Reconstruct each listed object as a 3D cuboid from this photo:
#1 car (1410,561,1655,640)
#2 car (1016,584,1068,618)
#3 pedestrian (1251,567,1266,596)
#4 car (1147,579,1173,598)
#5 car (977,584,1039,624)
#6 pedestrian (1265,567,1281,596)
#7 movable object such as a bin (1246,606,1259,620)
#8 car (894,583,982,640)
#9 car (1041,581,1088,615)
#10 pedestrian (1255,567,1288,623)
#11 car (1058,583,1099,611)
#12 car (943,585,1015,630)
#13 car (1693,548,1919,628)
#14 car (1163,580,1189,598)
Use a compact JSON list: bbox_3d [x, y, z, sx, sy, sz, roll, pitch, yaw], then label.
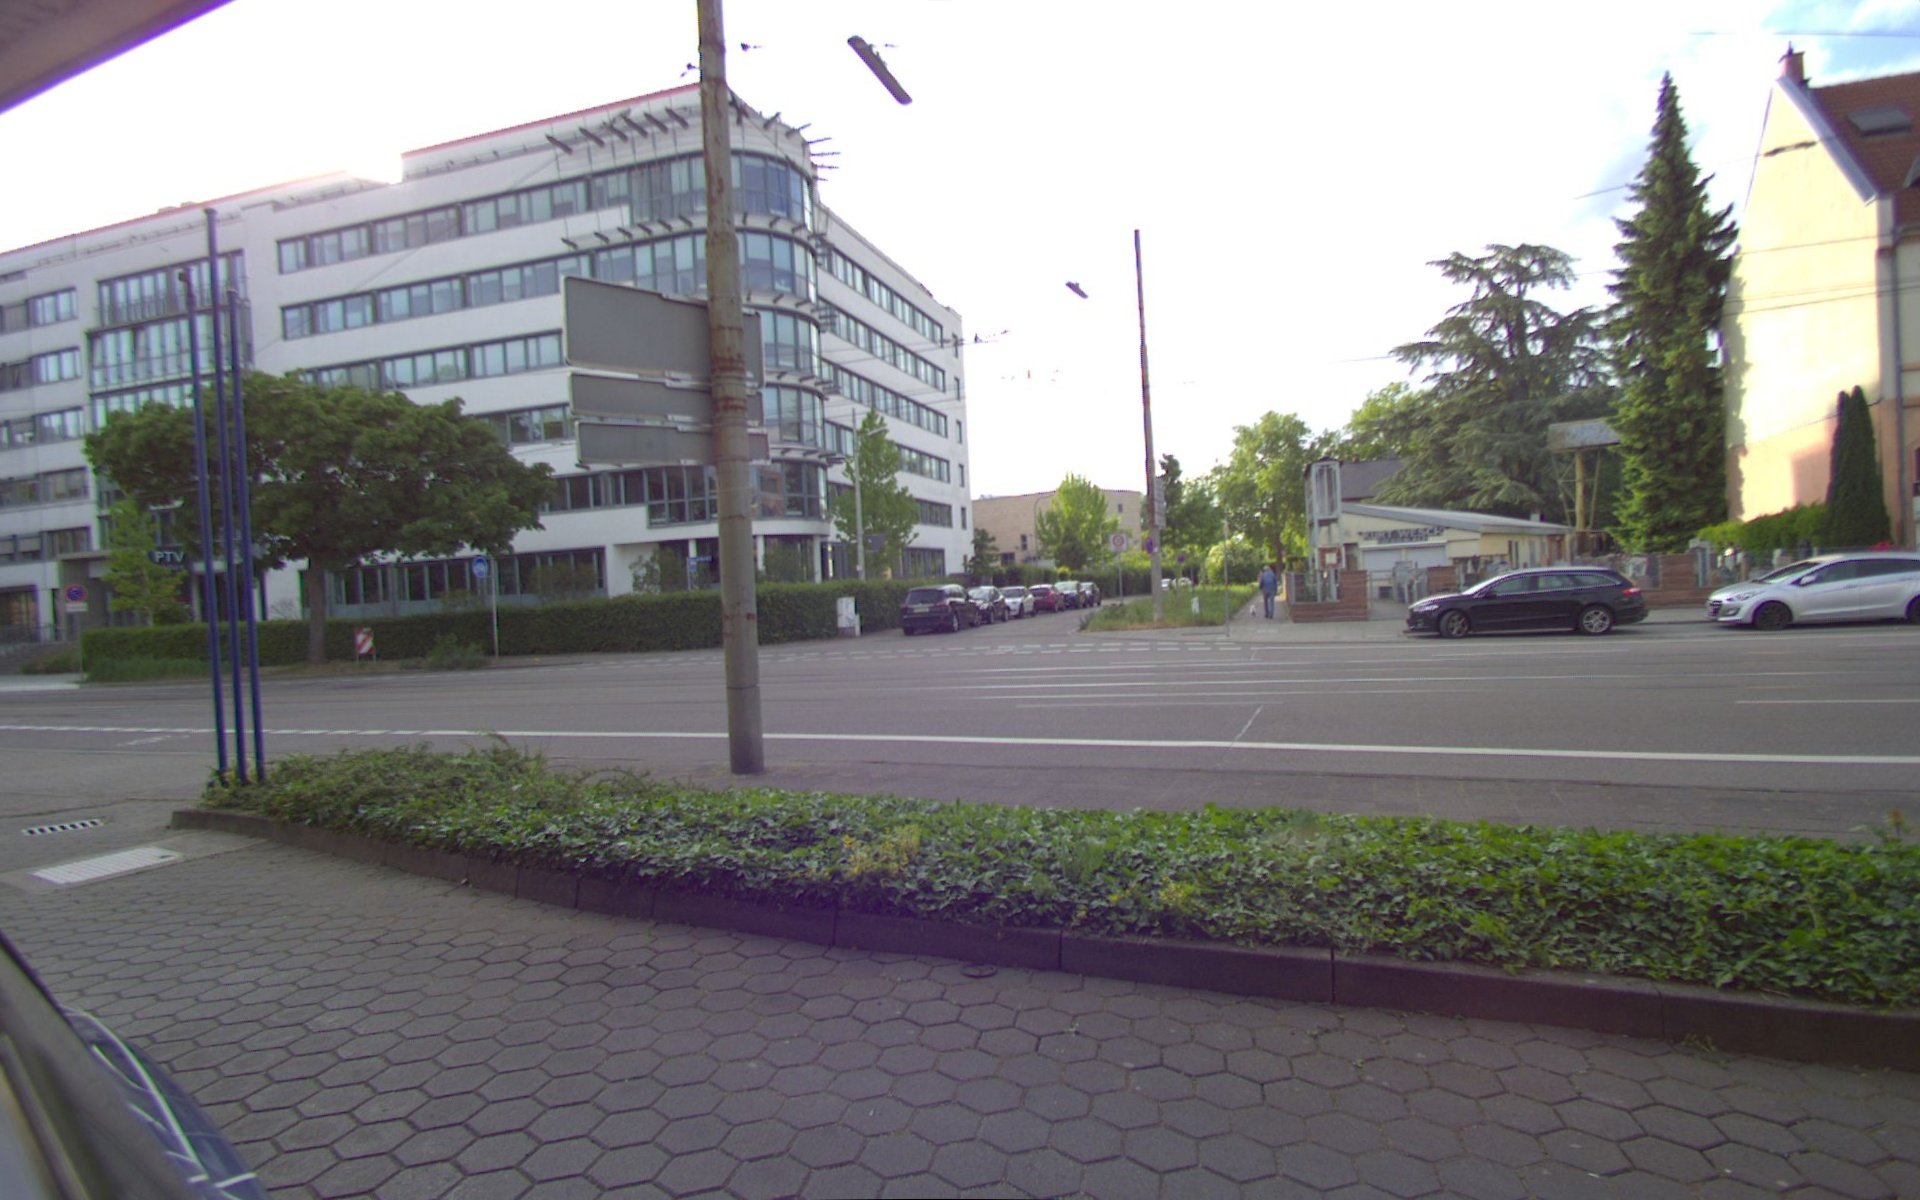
[{"bbox_3d":[13.005,0.007,23.364,4.632,1.533,1.842,-3,2,22],"label":"car"},{"bbox_3d":[4.293,0.019,52.404,1.807,1.589,4.175,-4,0,16],"label":"car"},{"bbox_3d":[20.131,-1.217,68.270,0.965,1.896,1.056,-1,0,18],"label":"pedestrian"},{"bbox_3d":[19.953,-1.145,100.904,1.811,1.654,4.044,-4,0,22],"label":"car"},{"bbox_3d":[2.217,0.150,45.683,1.807,1.589,4.175,-4,0,16],"label":"car"},{"bbox_3d":[21.019,-1.229,67.978,0.965,1.896,1.056,-1,0,18],"label":"pedestrian"},{"bbox_3d":[9.778,0.441,33.825,0.363,0.397,0.660,-2,2,14],"label":"movable object such as a bin"},{"bbox_3d":[-0.694,0.357,35.564,1.807,1.701,4.370,-4,1,16],"label":"car"},{"bbox_3d":[6.024,-0.140,57.802,1.807,1.704,4.392,-4,0,16],"label":"car"},{"bbox_3d":[9.928,-0.167,32.248,0.902,1.712,0.920,-3,2,18],"label":"pedestrian"},{"bbox_3d":[7.379,-0.218,62.568,1.807,1.585,4.052,-4,0,16],"label":"car"},{"bbox_3d":[0.823,0.269,40.979,1.807,1.589,4.175,-4,0,16],"label":"car"},{"bbox_3d":[18.398,-0.269,21.394,4.349,1.493,1.732,-3,1,22],"label":"car"},{"bbox_3d":[22.830,-1.166,106.851,1.813,1.654,4.040,-4,0,25],"label":"car"}]
